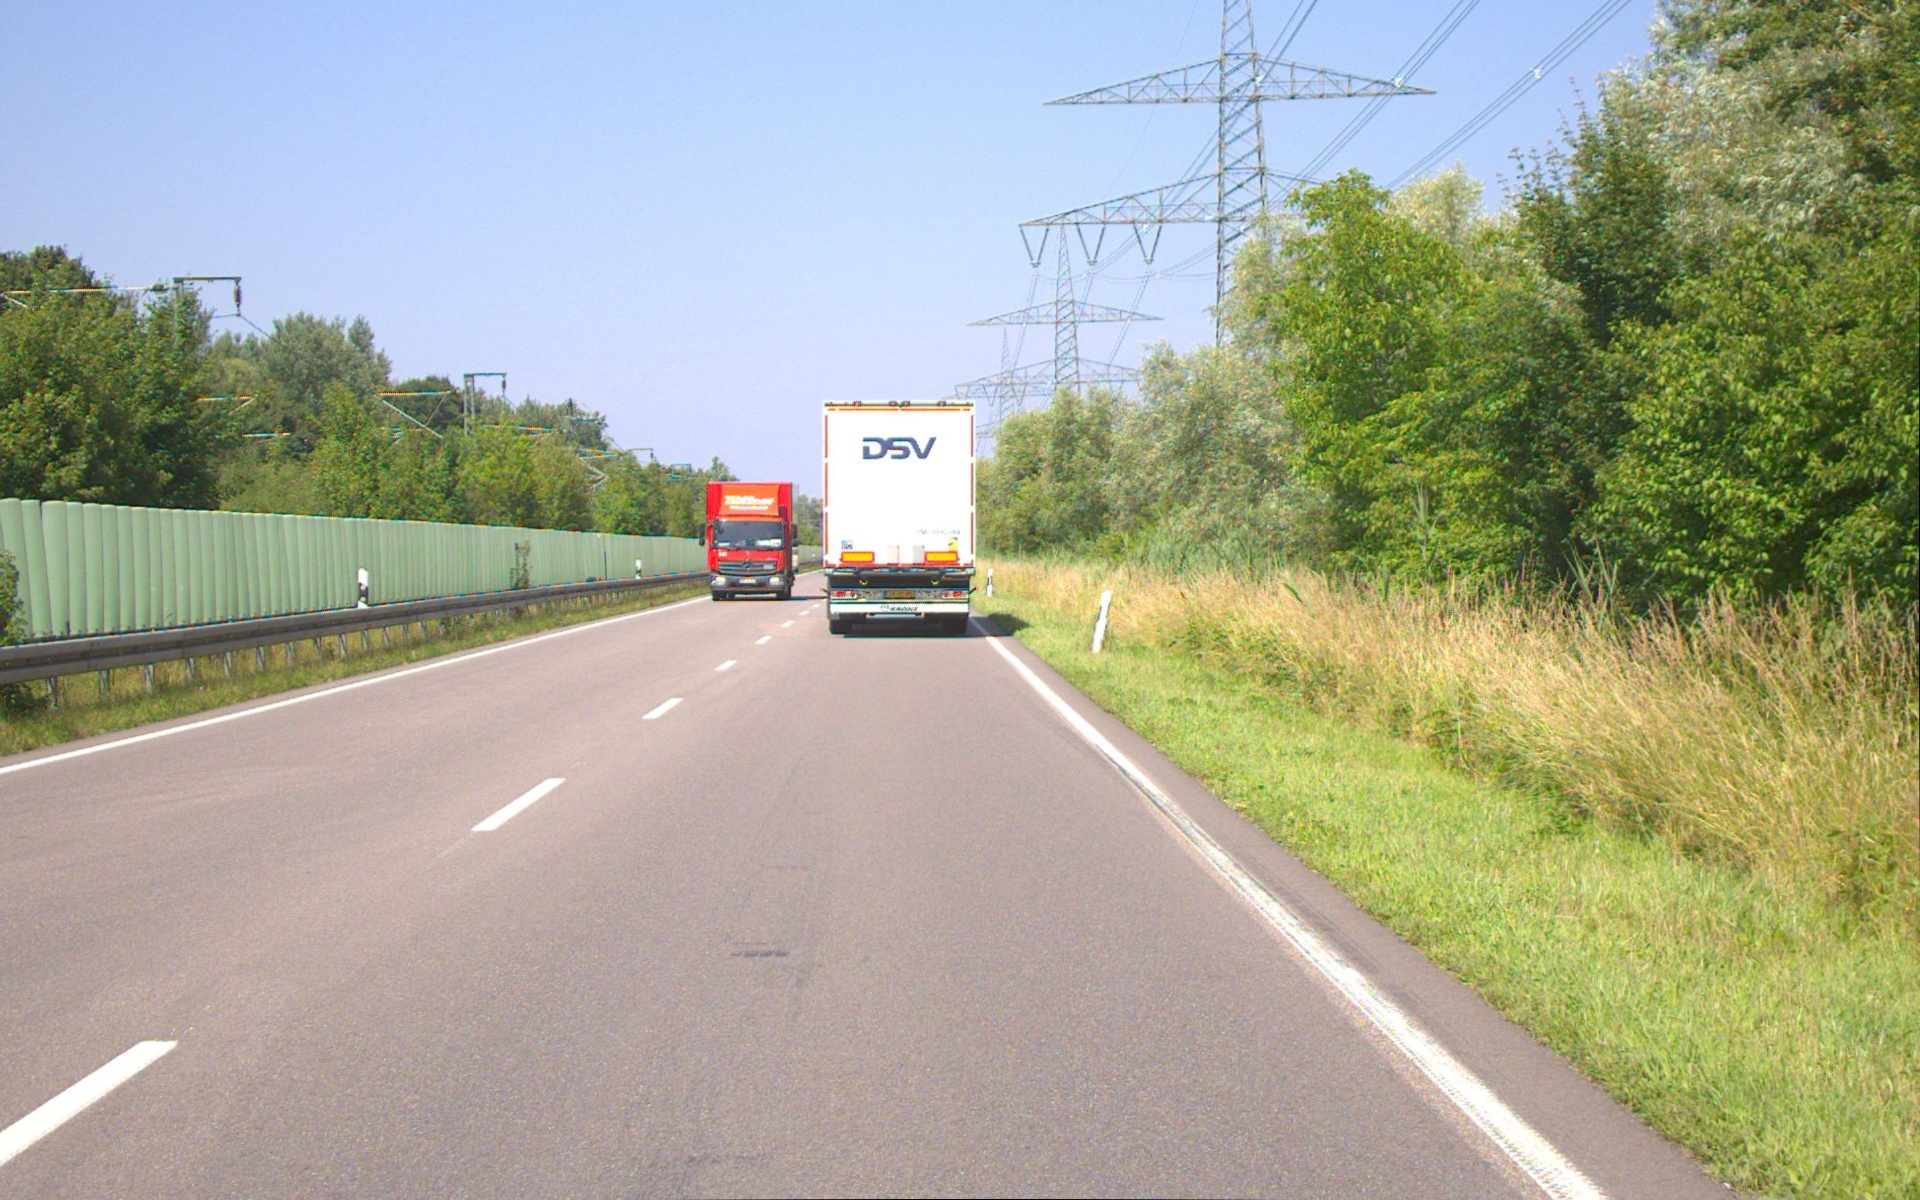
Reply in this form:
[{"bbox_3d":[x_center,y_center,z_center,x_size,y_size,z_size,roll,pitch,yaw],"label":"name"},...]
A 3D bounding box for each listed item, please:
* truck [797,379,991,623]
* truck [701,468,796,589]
[{"bbox_3d":[-1.246,-1.741,63.022,3.192,4.029,12.008,0,1,-1],"label":"truck"},{"bbox_3d":[-6.487,-2.200,106.674,2.733,3.586,9.528,0,1,-2],"label":"truck"}]
